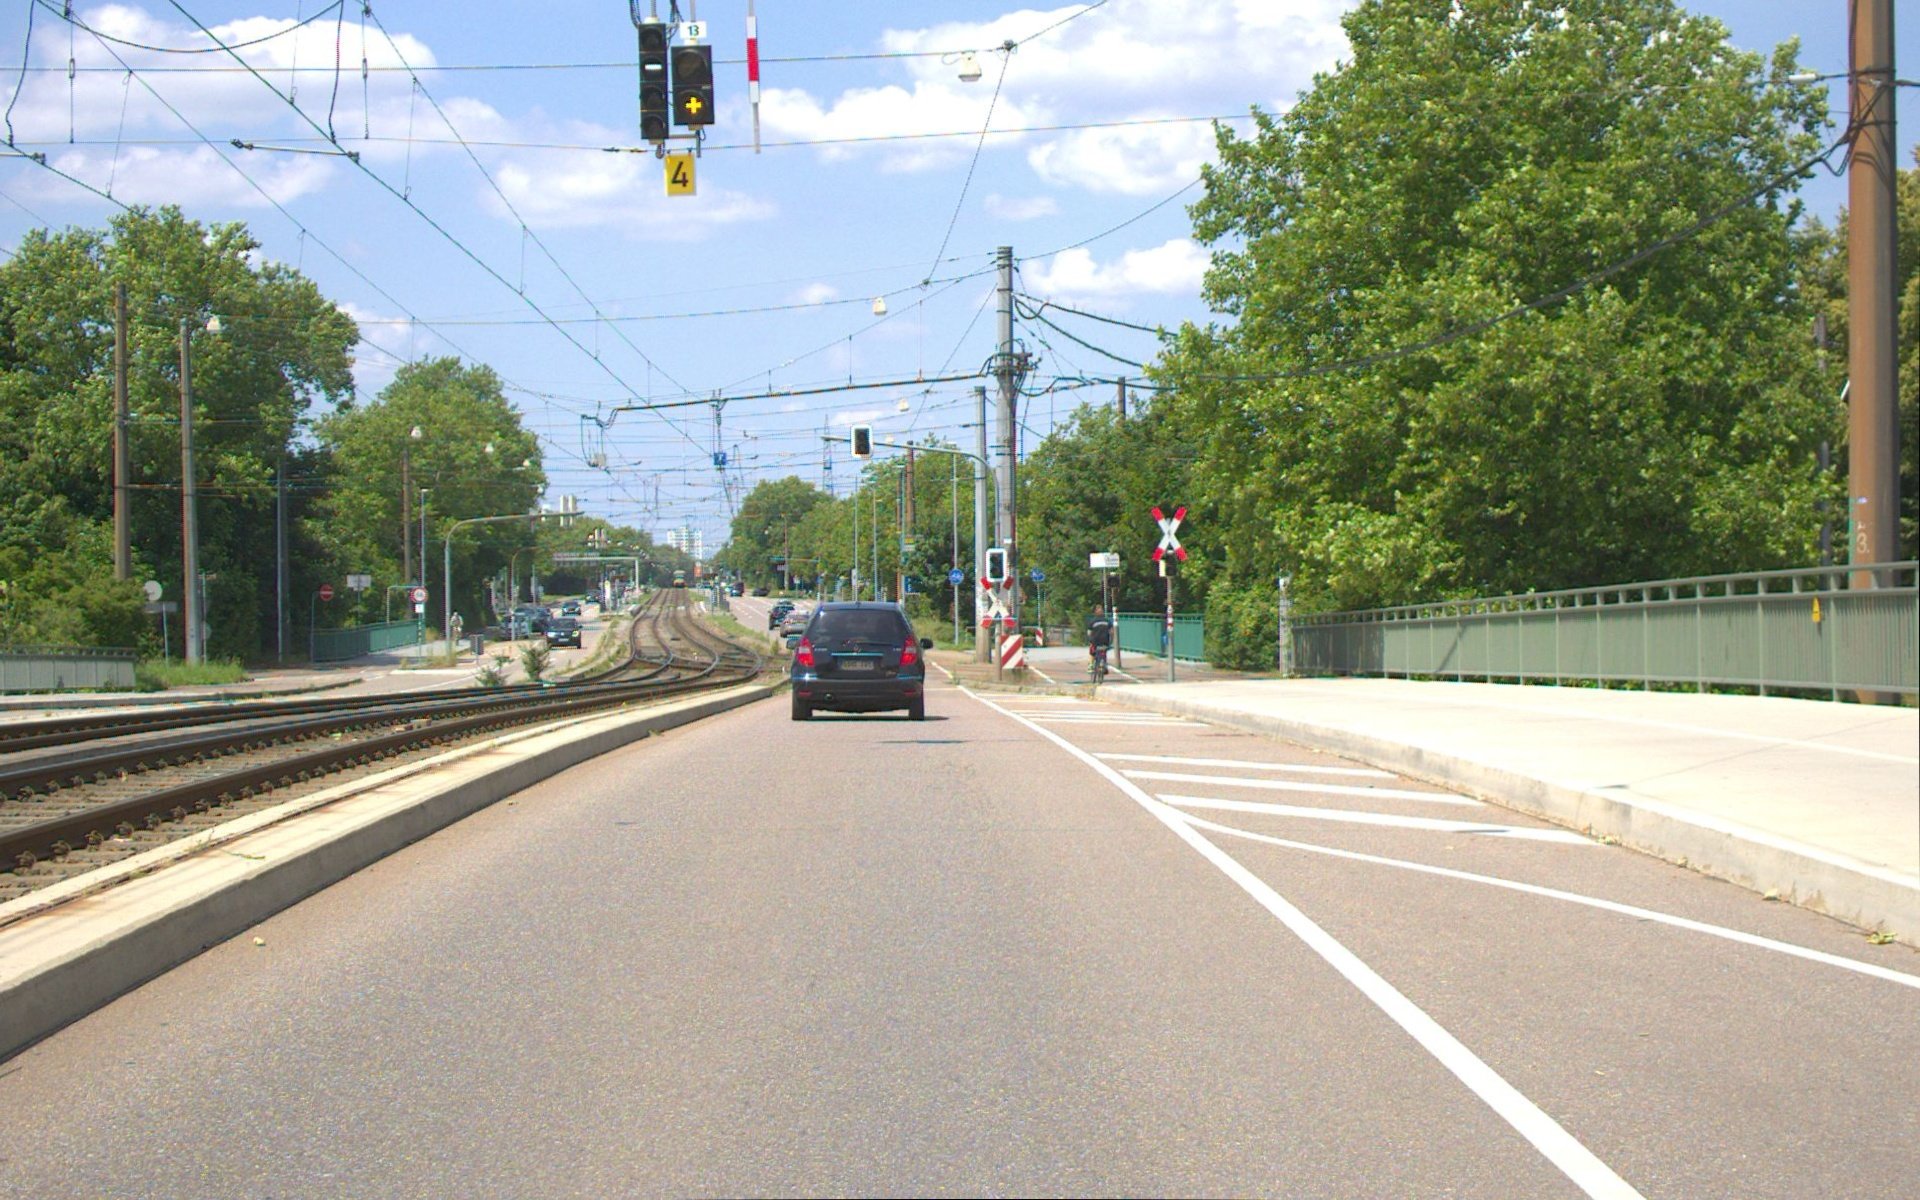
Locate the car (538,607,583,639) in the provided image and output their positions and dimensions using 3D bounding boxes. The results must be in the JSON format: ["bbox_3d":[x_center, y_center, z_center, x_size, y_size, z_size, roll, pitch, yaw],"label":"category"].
[{"bbox_3d":[-19.501,1.126,167.945,1.705,1.505,3.733,-2,0,0],"label":"car"}]

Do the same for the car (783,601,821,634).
[{"bbox_3d":[-8.875,0.984,193.470,1.884,1.634,4.000,3,1,-1],"label":"car"}]

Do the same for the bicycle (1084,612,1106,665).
[{"bbox_3d":[3.118,0.887,79.502,0.432,1.148,1.855,1,2,0],"label":"bicycle"}]

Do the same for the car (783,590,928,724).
[{"bbox_3d":[-1.393,0.733,46.560,1.853,1.564,4.389,0,2,-1],"label":"car"}]

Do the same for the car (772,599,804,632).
[{"bbox_3d":[-11.266,1.029,225.265,1.993,2.007,4.001,1,2,-2],"label":"car"}]

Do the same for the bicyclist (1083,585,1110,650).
[{"bbox_3d":[3.149,0.404,79.429,0.585,1.490,0.558,1,1,0],"label":"bicyclist"}]
